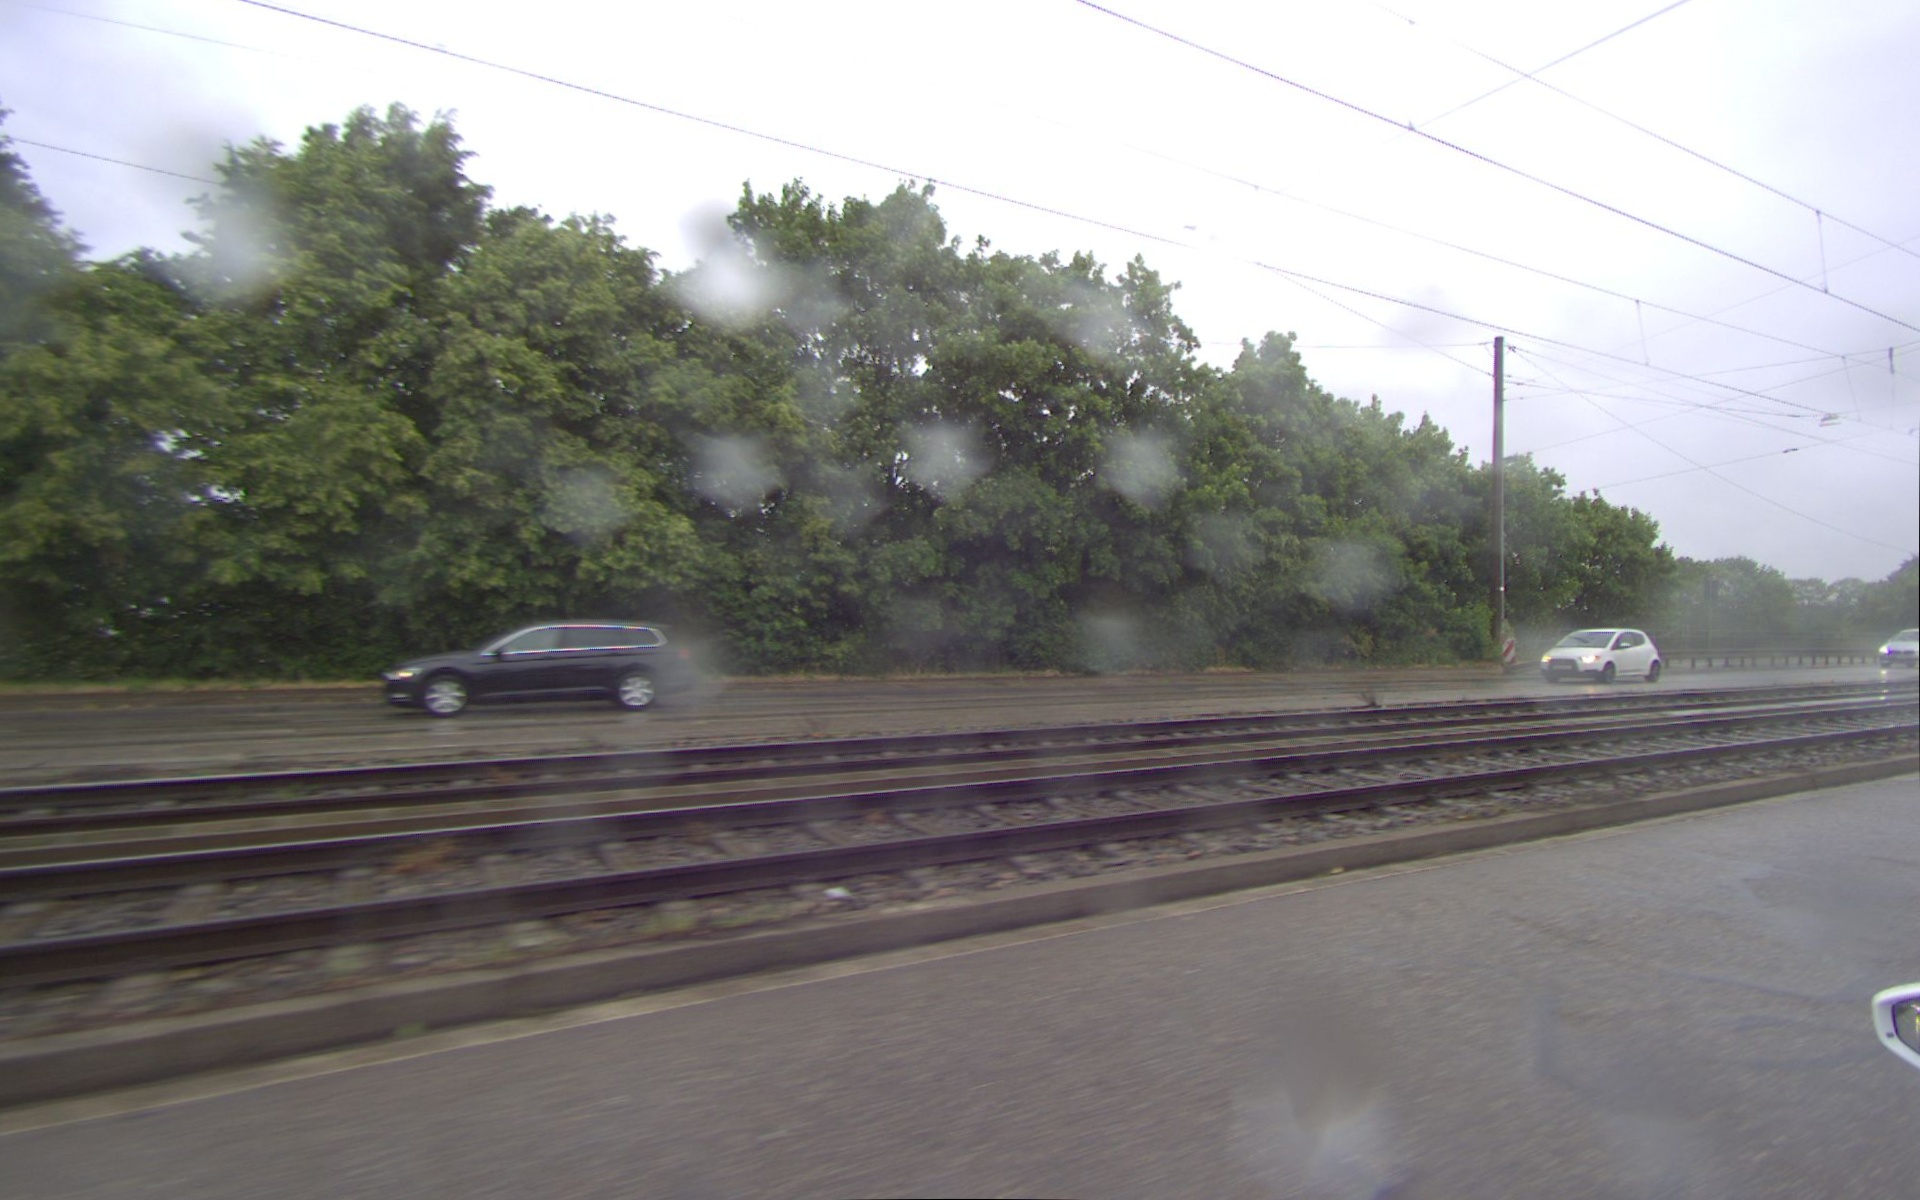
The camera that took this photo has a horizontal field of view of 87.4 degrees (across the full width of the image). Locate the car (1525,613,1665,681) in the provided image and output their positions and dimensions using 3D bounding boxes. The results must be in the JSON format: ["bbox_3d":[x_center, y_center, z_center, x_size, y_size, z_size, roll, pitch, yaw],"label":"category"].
[{"bbox_3d":[18.120,1.283,28.639,3.954,1.734,1.745,0,1,-31],"label":"car"}]

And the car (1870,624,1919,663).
[{"bbox_3d":[39.723,1.772,41.629,4.144,1.472,1.789,0,1,-30],"label":"car"}]

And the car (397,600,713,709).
[{"bbox_3d":[-6.486,0.804,16.318,4.552,1.539,1.682,0,1,-27],"label":"car"}]
